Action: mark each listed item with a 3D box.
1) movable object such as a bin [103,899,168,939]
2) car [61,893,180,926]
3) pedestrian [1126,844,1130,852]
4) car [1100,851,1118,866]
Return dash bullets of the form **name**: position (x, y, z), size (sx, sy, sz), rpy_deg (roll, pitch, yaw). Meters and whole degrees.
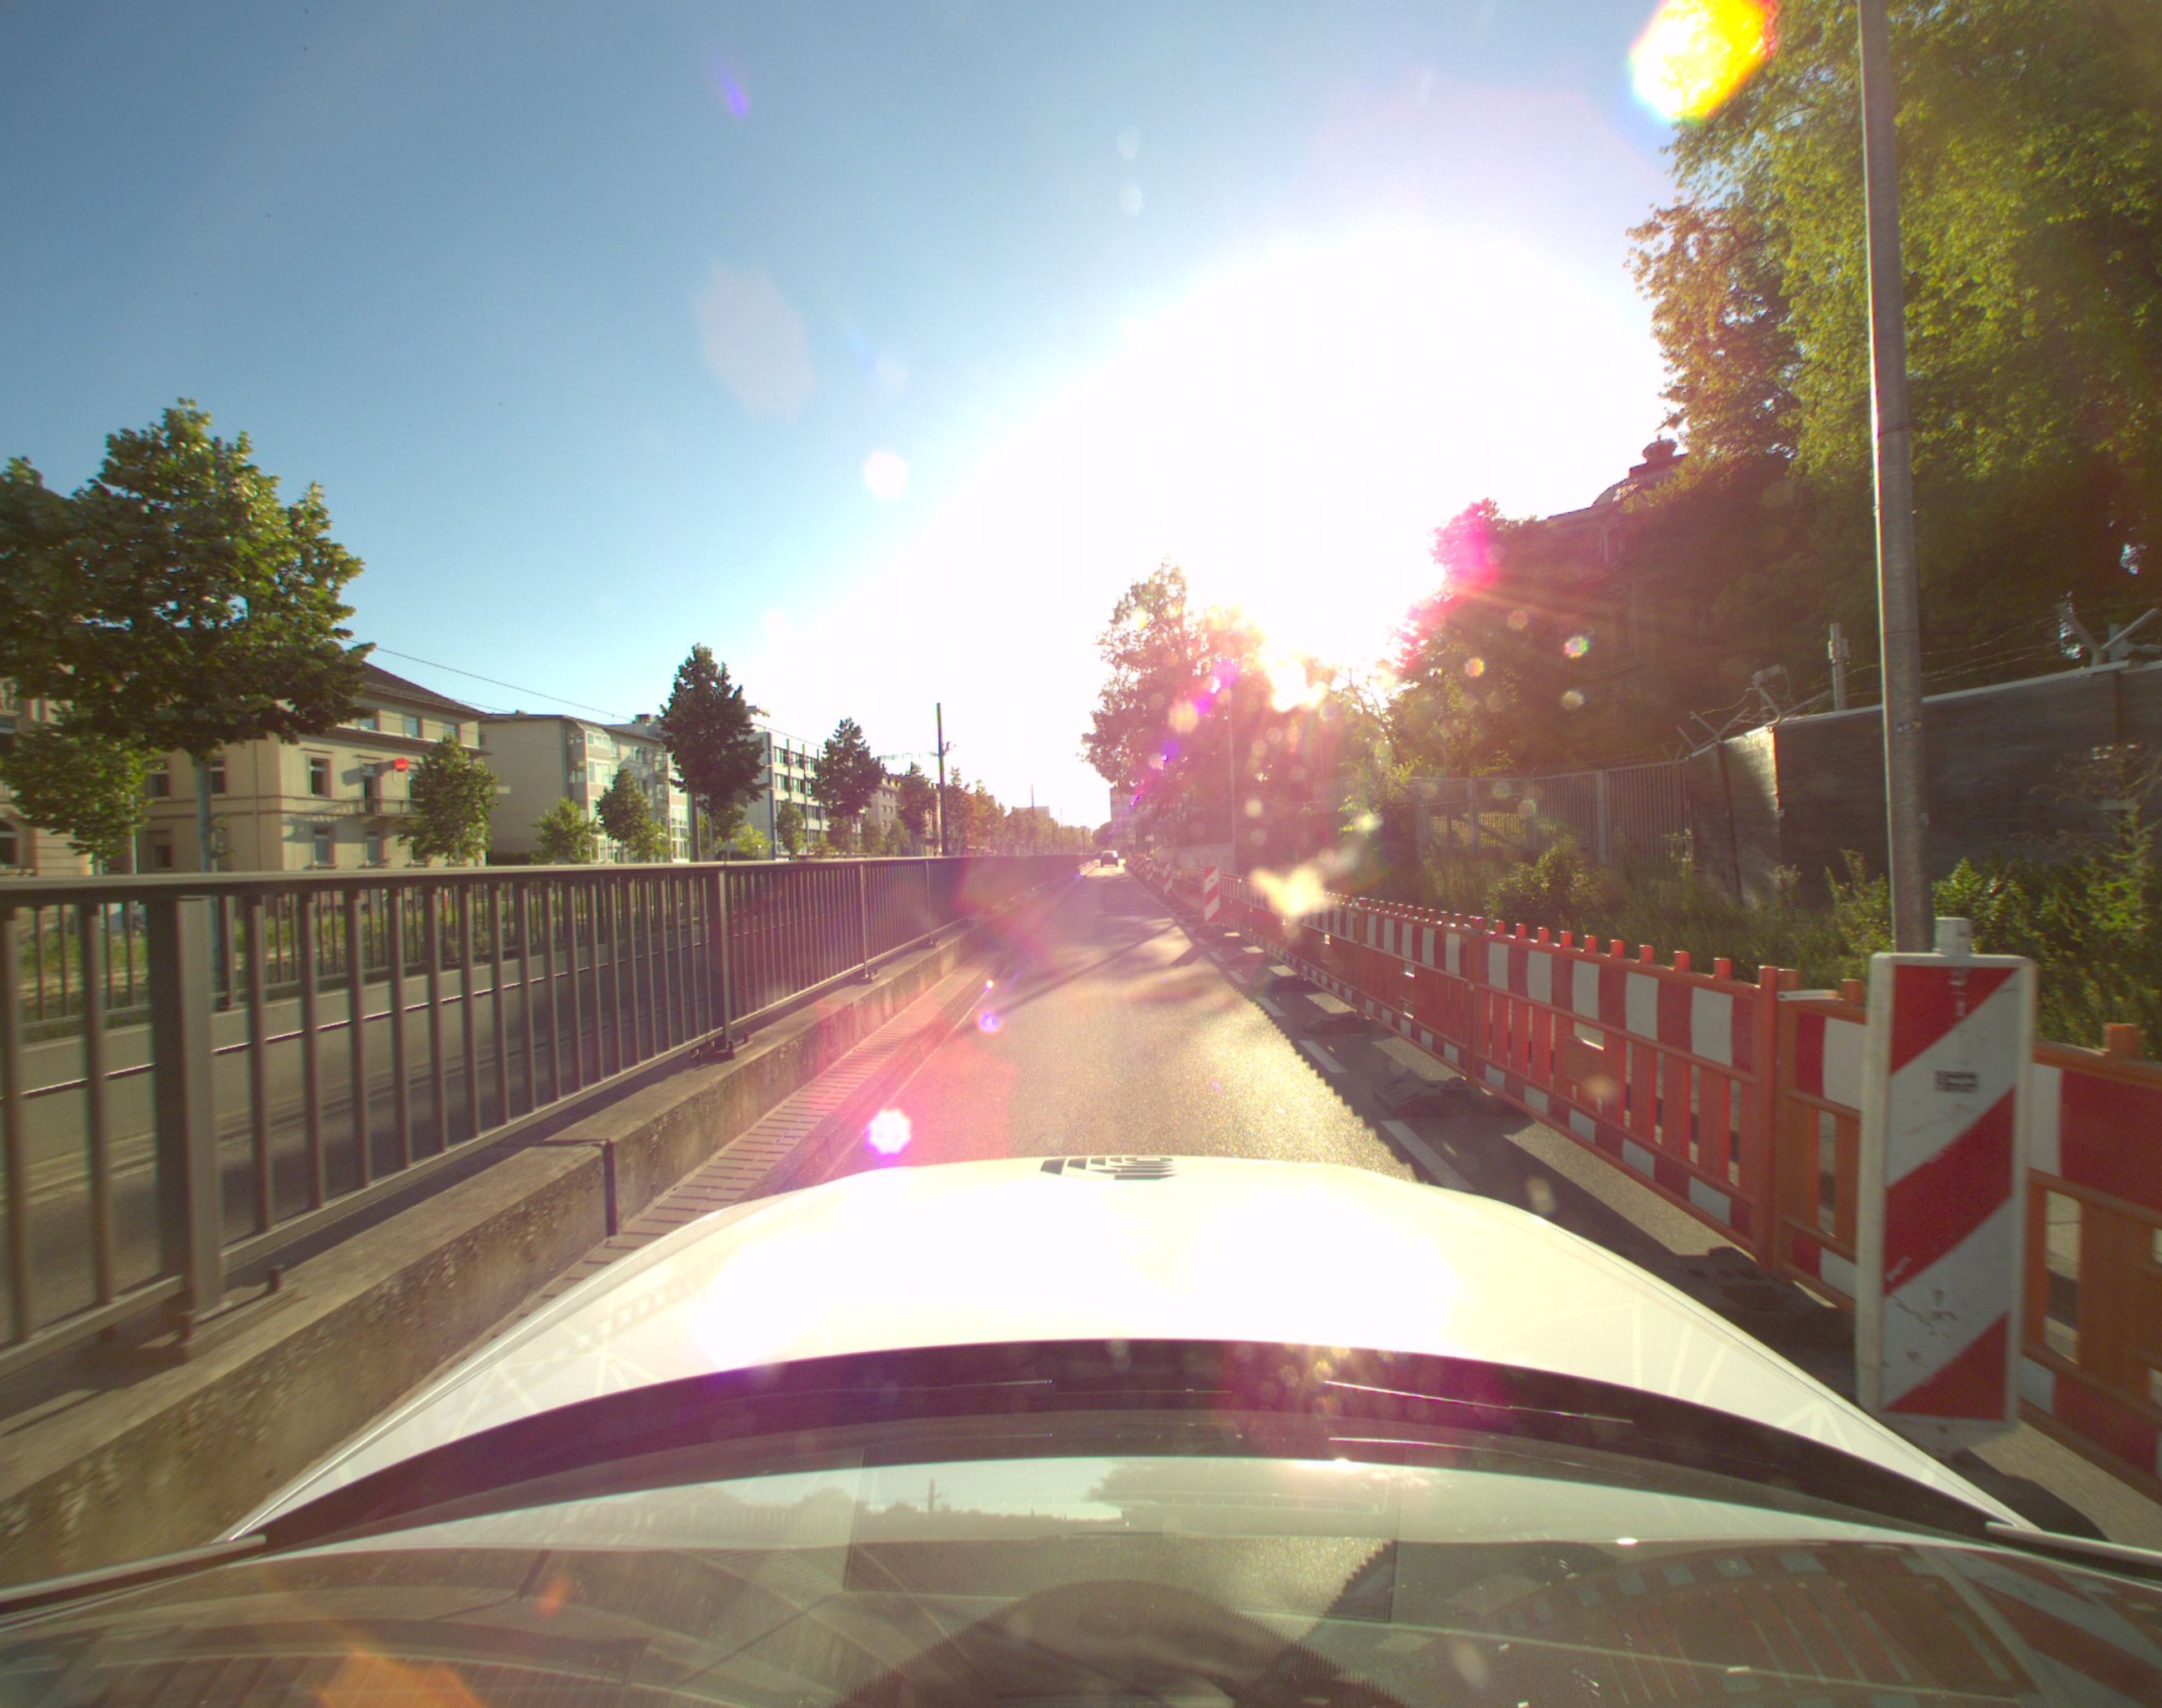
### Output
- **movable object such as a bin**: position (-36.839, 2.529, 31.743), size (1.200, 1.429, 1.080), rpy_deg (-3, 0, 2)
- **car**: position (-46.933, 2.709, 39.833), size (3.970, 1.469, 1.683), rpy_deg (-1, -1, 3)
- **pedestrian**: position (12.392, -1.487, 213.361), size (0.887, 2.112, 0.719), rpy_deg (-2, 1, 7)
- **car**: position (3.146, 0.488, 91.097), size (1.997, 1.659, 4.003), rpy_deg (-1, 0, 3)
